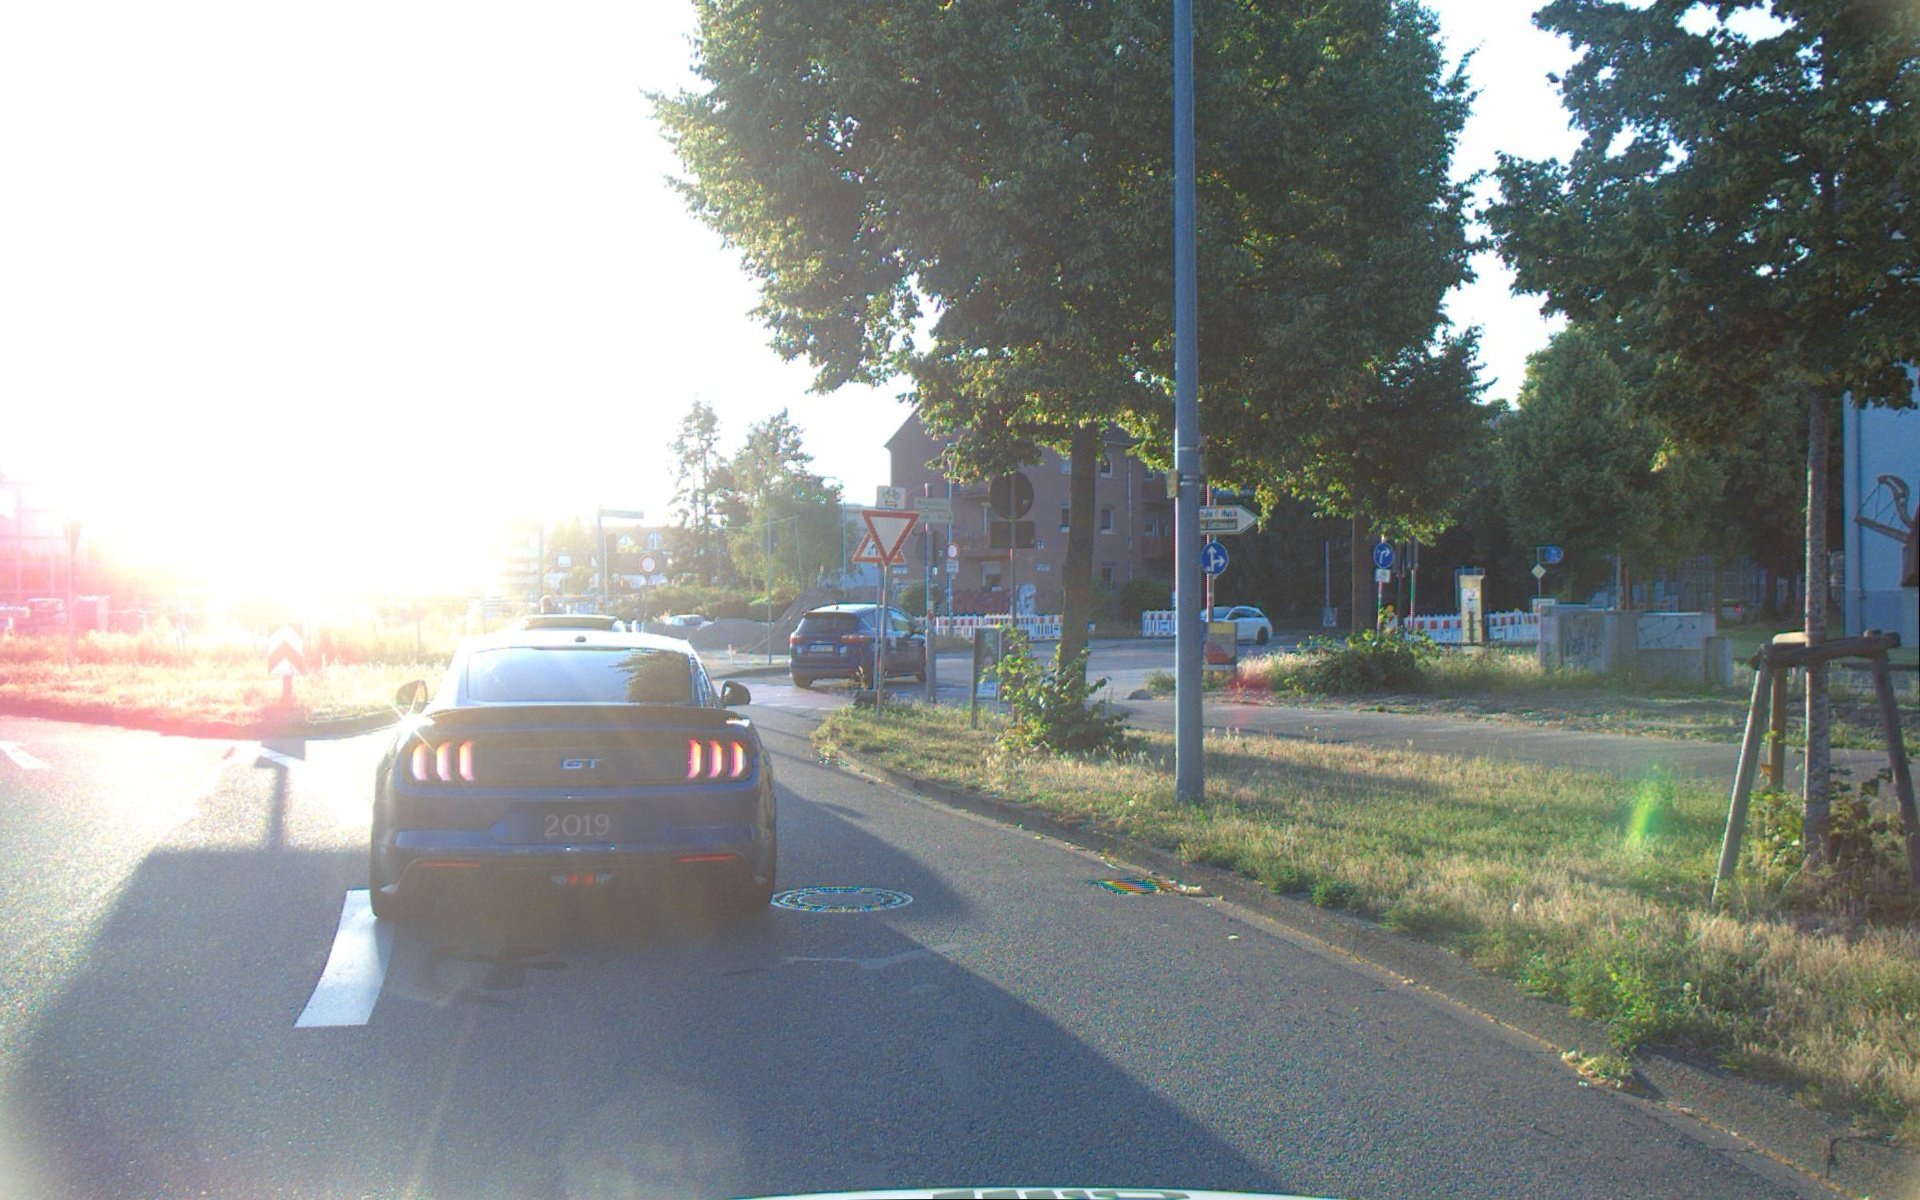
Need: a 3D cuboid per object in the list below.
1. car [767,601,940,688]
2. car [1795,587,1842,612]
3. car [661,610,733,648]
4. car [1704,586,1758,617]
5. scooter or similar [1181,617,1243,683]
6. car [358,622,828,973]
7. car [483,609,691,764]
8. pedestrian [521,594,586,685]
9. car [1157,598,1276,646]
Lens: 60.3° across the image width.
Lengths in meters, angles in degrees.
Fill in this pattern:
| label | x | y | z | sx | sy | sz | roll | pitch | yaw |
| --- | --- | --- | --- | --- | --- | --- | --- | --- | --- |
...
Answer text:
| label | x | y | z | sx | sy | sz | roll | pitch | yaw |
| --- | --- | --- | --- | --- | --- | --- | --- | --- | --- |
| car | -2.081 | 0.849 | 33.483 | 1.911 | 1.630 | 4.077 | 0 | 0 | 22 |
| car | 55.961 | -0.023 | 107.782 | 1.921 | 1.630 | 4.056 | 0 | 0 | 40 |
| car | -12.453 | 1.347 | 78.161 | 1.975 | 1.736 | 3.954 | 0 | 0 | -33 |
| car | 42.761 | 0.080 | 91.691 | 1.920 | 1.630 | 4.059 | 0 | 0 | 38 |
| scooter or similar | 4.895 | 0.968 | 32.113 | 1.100 | 1.260 | 0.441 | 0 | 0 | -12 |
| car | -2.138 | 0.833 | 9.168 | 1.920 | 1.365 | 4.650 | 0 | 0 | -16 |
| car | -4.138 | 0.896 | 18.205 | 1.918 | 1.452 | 4.412 | 2 | -2 | -14 |
| pedestrian | -7.769 | 0.744 | 31.592 | 0.869 | 1.716 | 0.843 | -1 | 0 | 37 |
| car | 9.458 | 0.778 | 60.800 | 2.041 | 1.478 | 4.624 | 4 | 4 | 44 |
